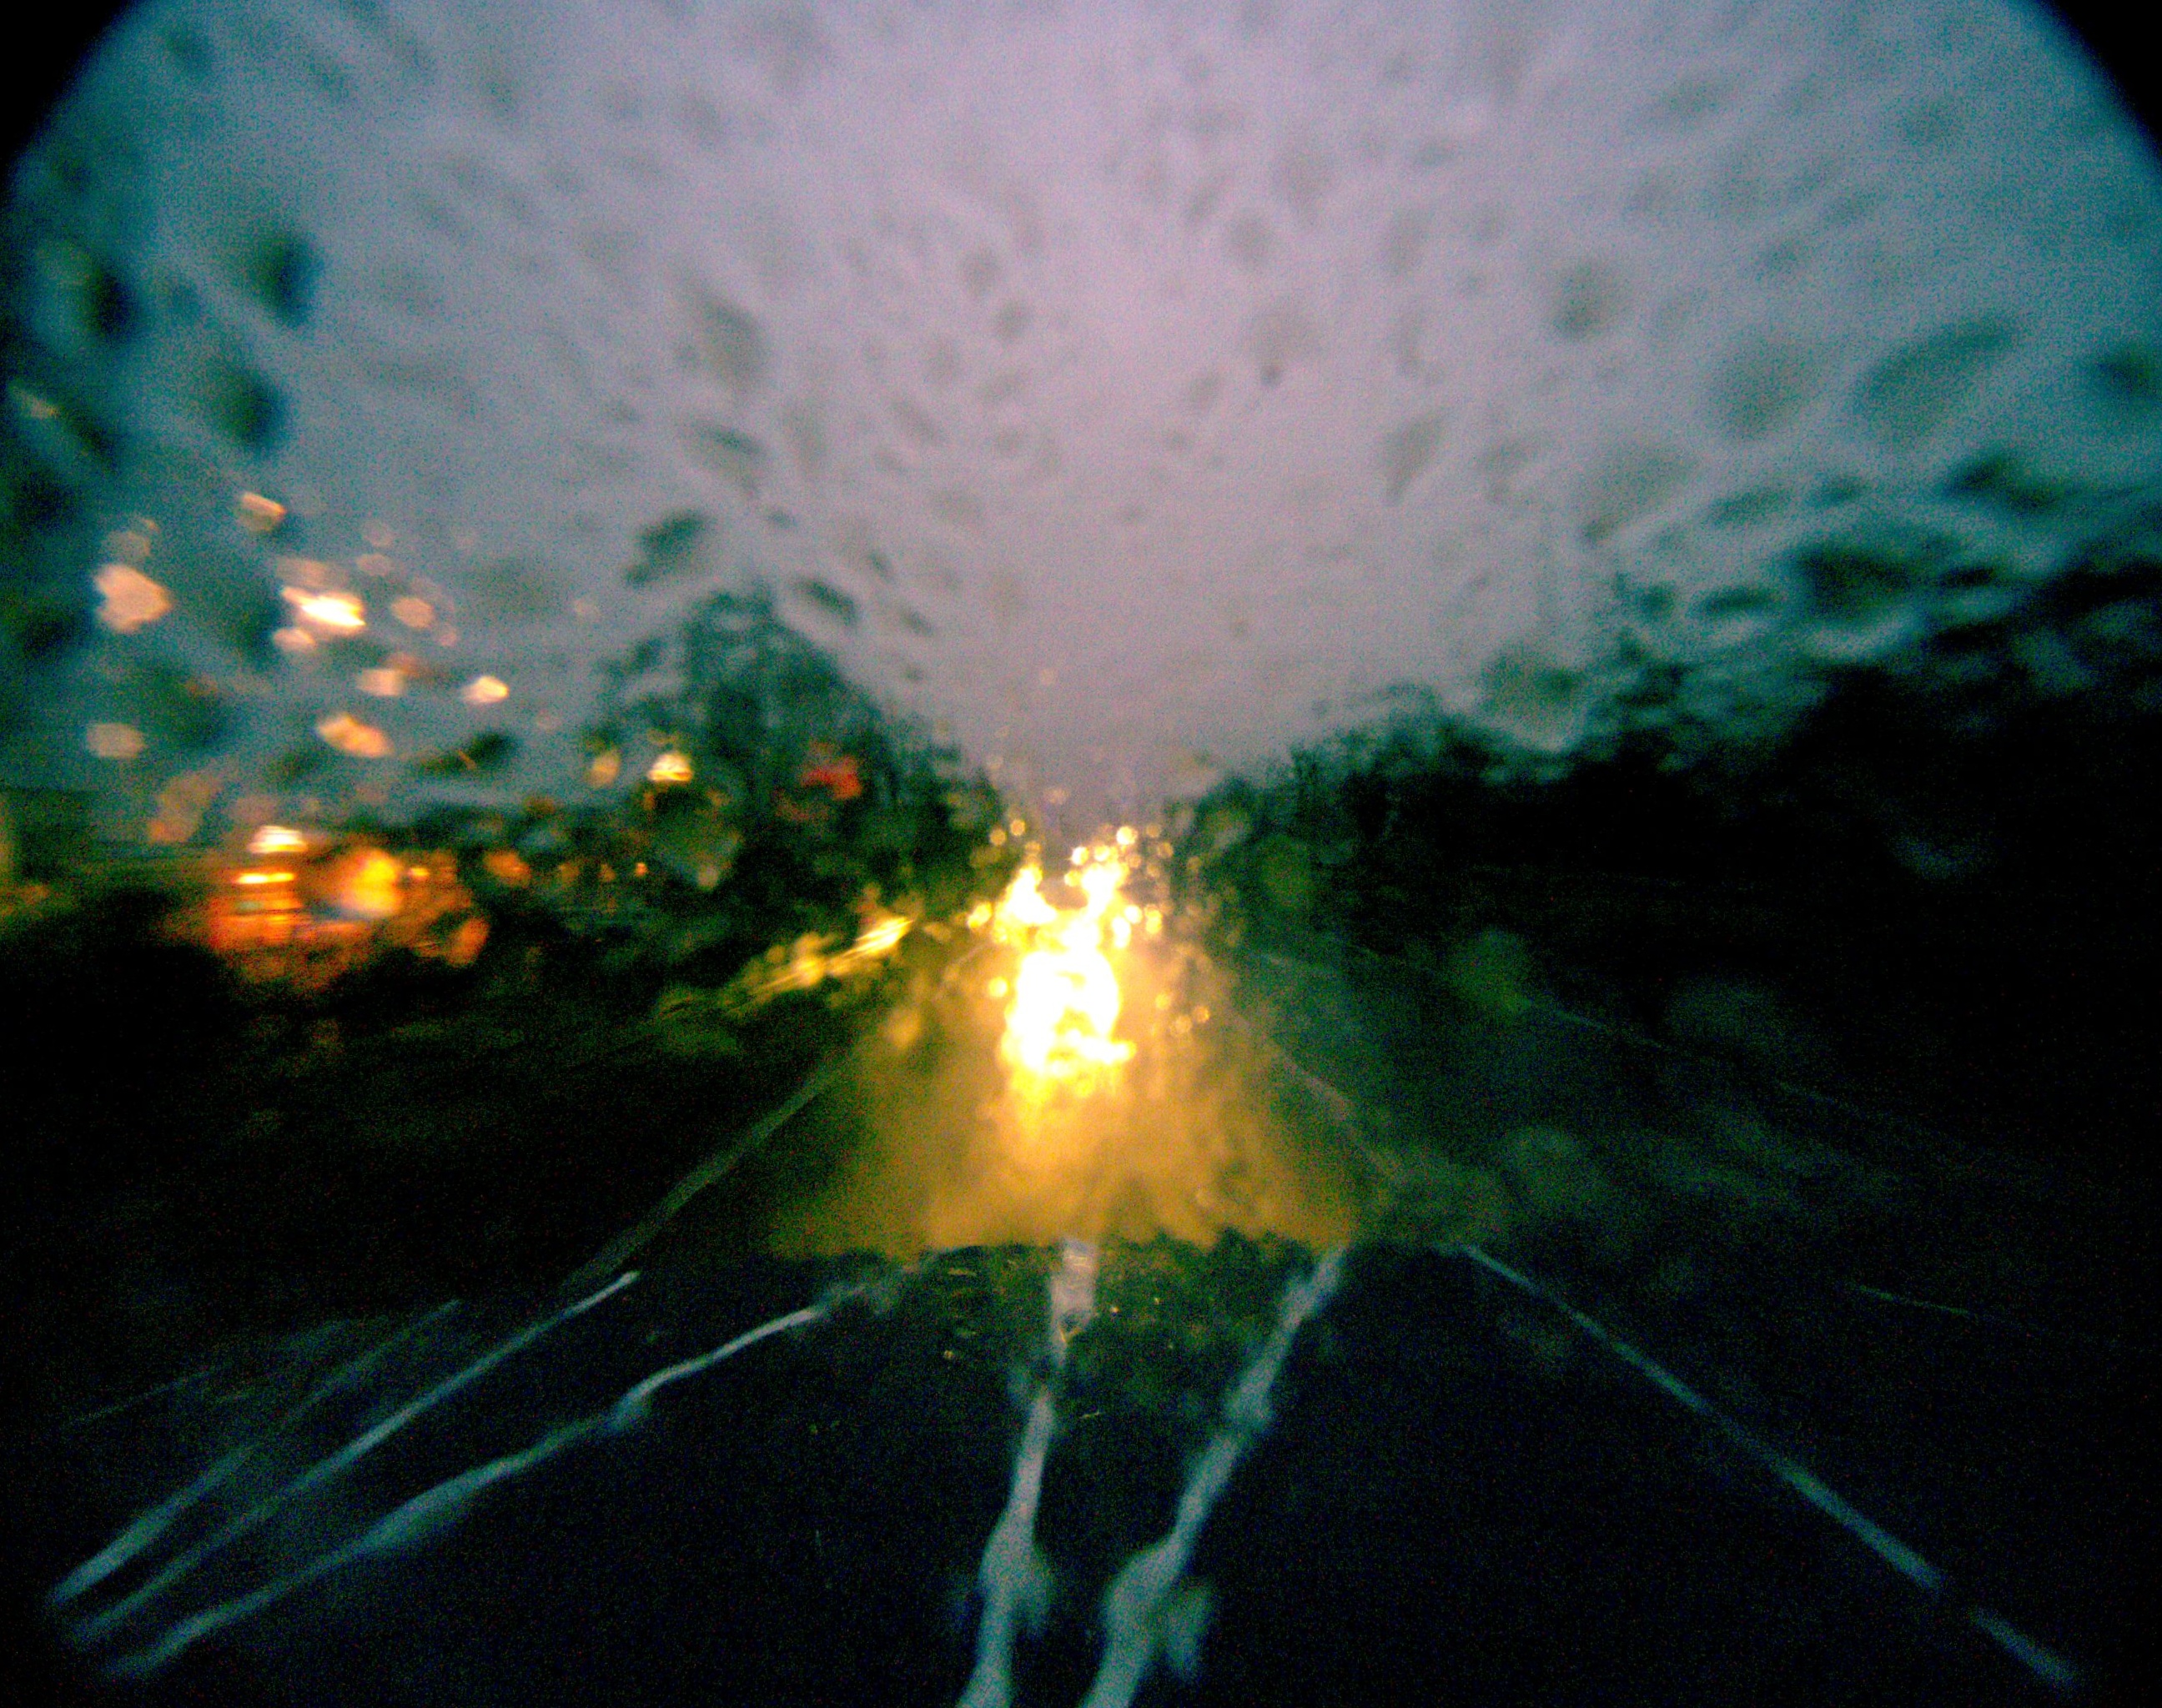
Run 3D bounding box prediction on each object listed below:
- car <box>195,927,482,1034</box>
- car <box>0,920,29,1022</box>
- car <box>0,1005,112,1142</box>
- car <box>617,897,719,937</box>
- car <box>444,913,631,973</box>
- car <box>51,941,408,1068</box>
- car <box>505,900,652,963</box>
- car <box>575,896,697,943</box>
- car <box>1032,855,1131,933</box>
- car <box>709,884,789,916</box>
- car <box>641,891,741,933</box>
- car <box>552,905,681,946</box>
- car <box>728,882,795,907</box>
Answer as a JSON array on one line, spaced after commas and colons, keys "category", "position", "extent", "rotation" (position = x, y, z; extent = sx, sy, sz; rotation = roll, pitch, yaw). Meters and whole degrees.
[{"category": "car", "position": [-16.677, 2.788, 17.378], "extent": [4.143, 1.720, 2.018], "rotation": [-3, 2, -16]}, {"category": "car", "position": [-30.614, 3.280, 20.378], "extent": [4.353, 2.507, 2.104], "rotation": [0, 5, 42]}, {"category": "car", "position": [-14.928, 2.893, 9.295], "extent": [3.547, 1.415, 1.661], "rotation": [-4, 2, -7]}, {"category": "car", "position": [-19.931, 2.996, 36.820], "extent": [3.877, 1.469, 1.998], "rotation": [-4, 0, -14]}, {"category": "car", "position": [-18.070, 2.926, 25.504], "extent": [4.737, 1.481, 1.660], "rotation": [-3, 2, -13]}, {"category": "car", "position": [-16.321, 2.819, 14.882], "extent": [4.142, 1.714, 2.019], "rotation": [-3, 1, -15]}, {"category": "car", "position": [-18.662, 2.844, 28.407], "extent": [4.141, 1.825, 1.660], "rotation": [-4, 2, -12]}, {"category": "car", "position": [-20.008, 2.931, 34.335], "extent": [4.262, 1.620, 1.998], "rotation": [-4, 0, -14]}, {"category": "car", "position": [0.125, 0.897, 19.264], "extent": [2.102, 1.566, 4.800], "rotation": [-4, 0, 3]}, {"category": "car", "position": [-21.980, 3.018, 50.475], "extent": [4.405, 1.705, 1.999], "rotation": [-4, 0, -8]}, {"category": "car", "position": [-20.479, 3.032, 40.070], "extent": [4.263, 1.843, 1.998], "rotation": [-3, 0, -14]}, {"category": "car", "position": [-18.896, 2.883, 31.086], "extent": [4.141, 1.414, 1.661], "rotation": [0, 1, -9]}, {"category": "car", "position": [-23.625, 3.009, 56.345], "extent": [4.192, 1.508, 1.999], "rotation": [-4, -2, -11]}]
